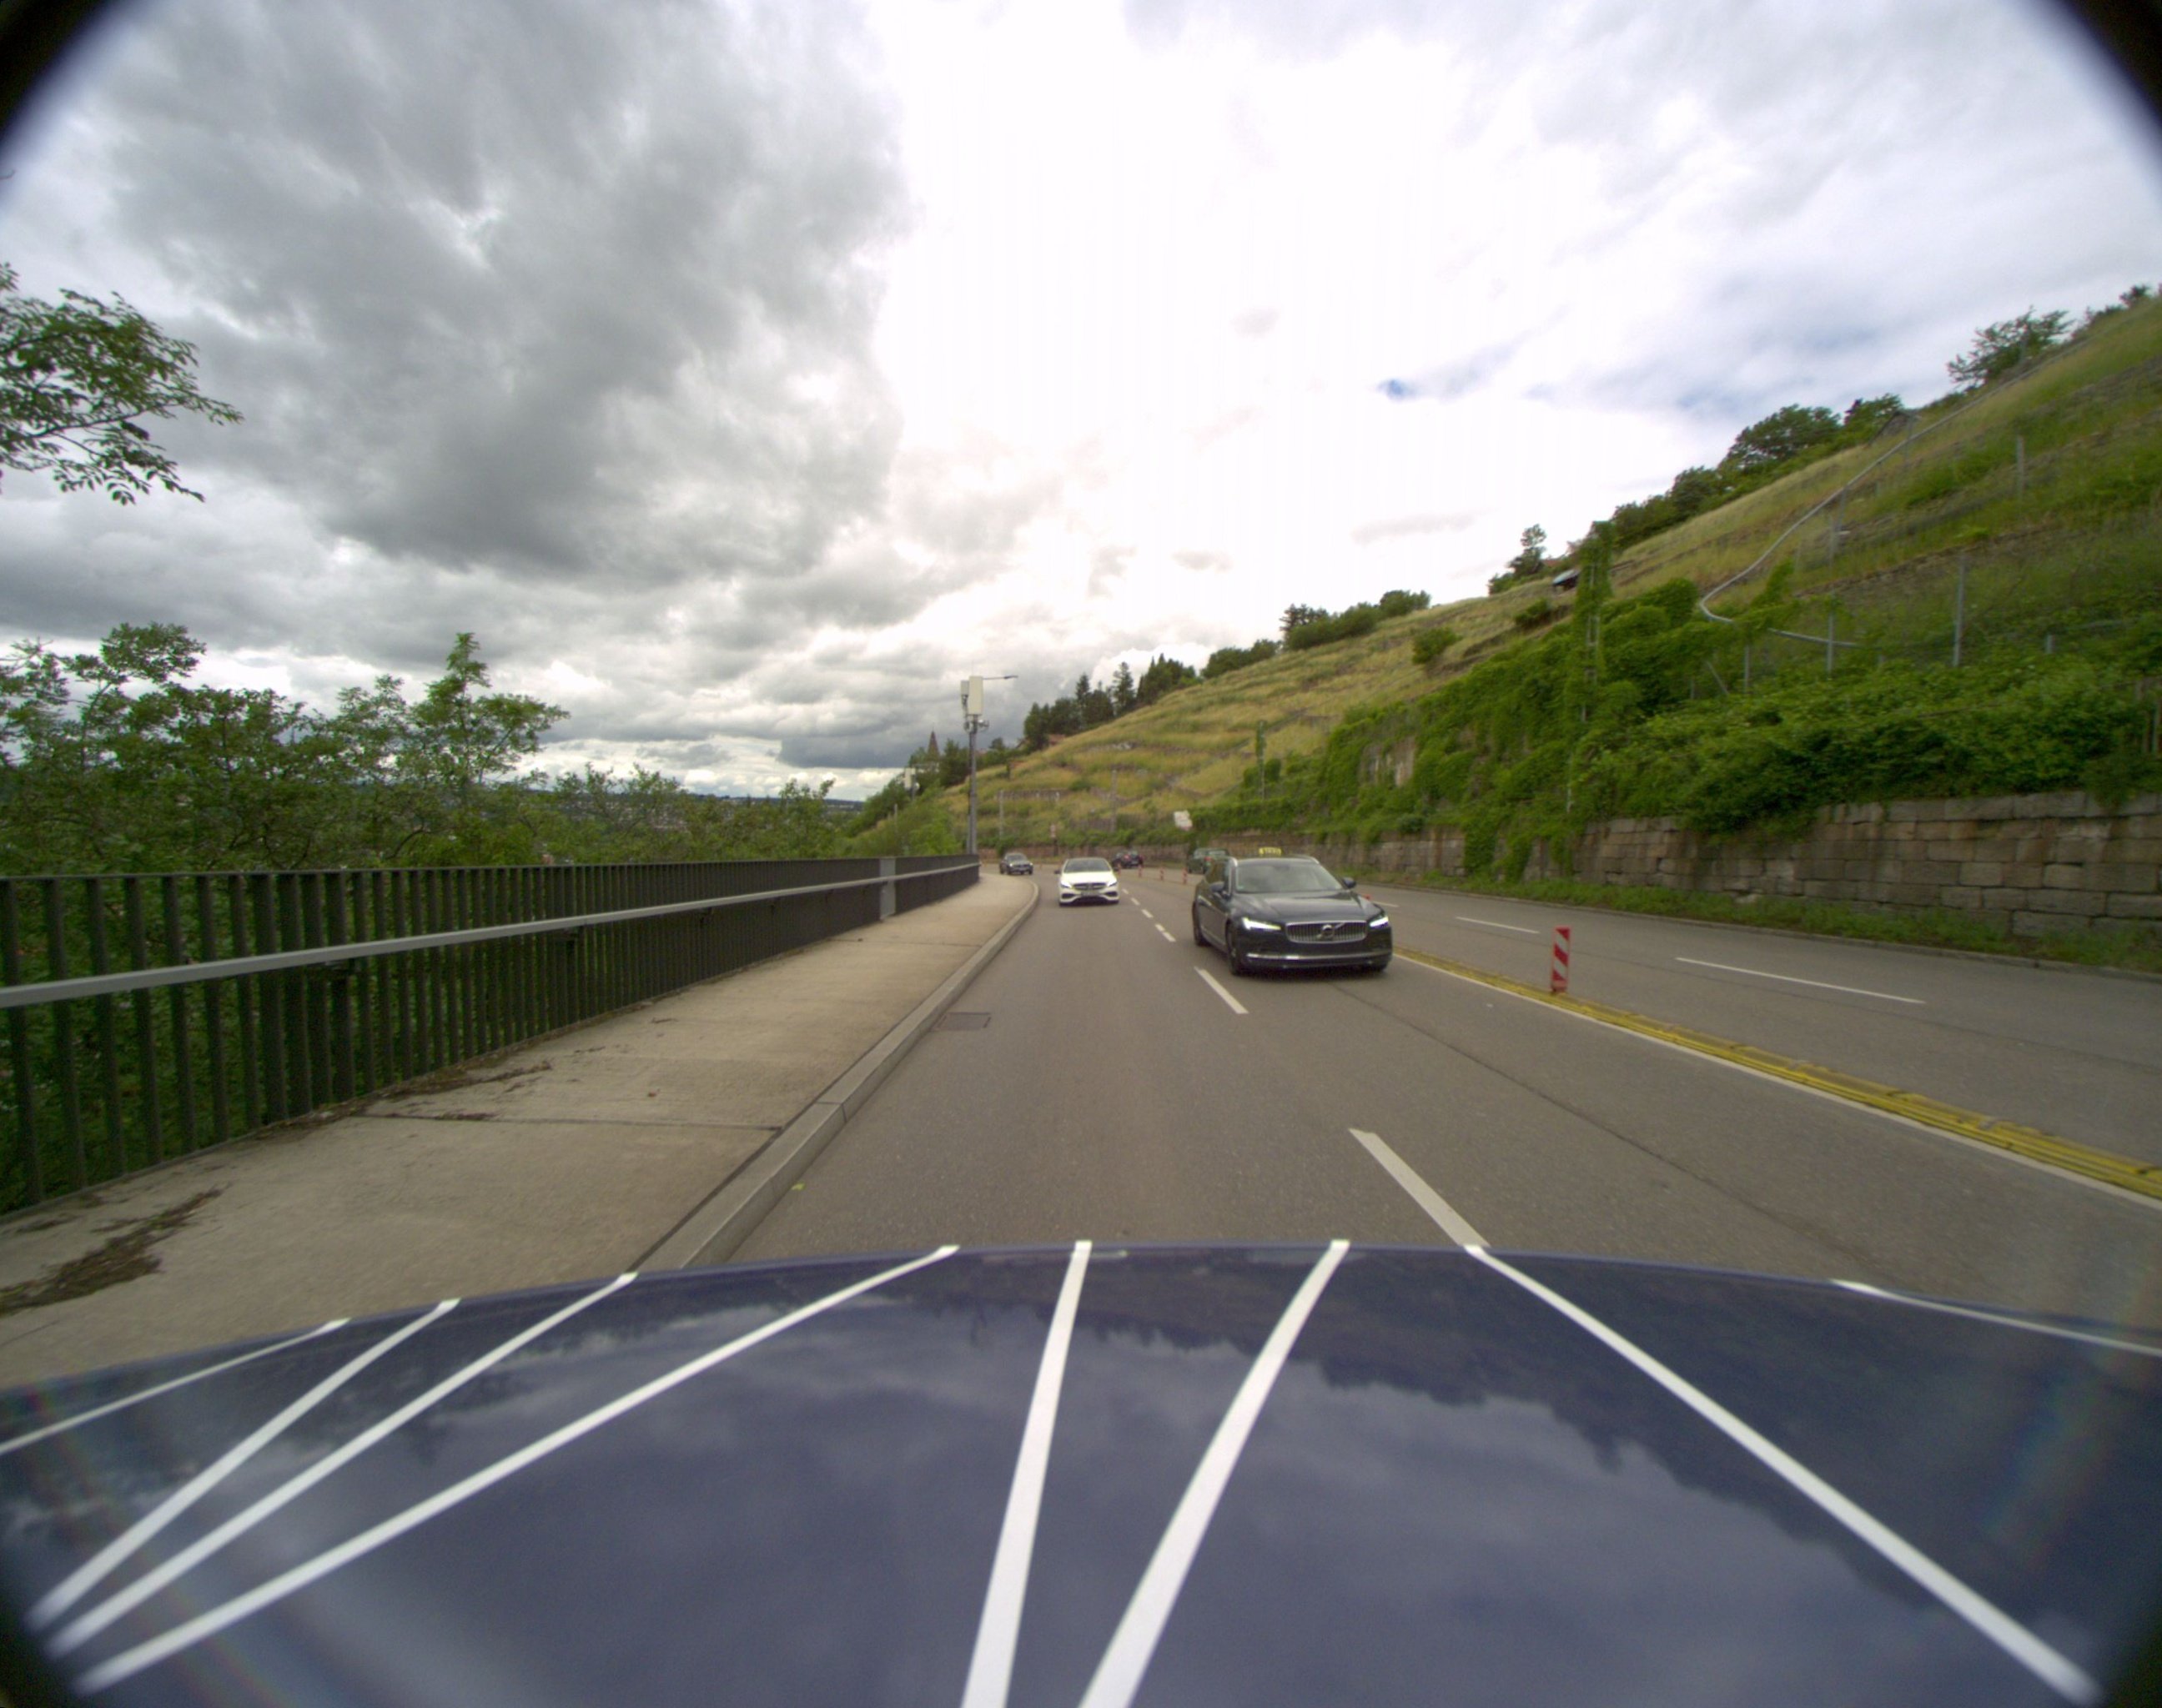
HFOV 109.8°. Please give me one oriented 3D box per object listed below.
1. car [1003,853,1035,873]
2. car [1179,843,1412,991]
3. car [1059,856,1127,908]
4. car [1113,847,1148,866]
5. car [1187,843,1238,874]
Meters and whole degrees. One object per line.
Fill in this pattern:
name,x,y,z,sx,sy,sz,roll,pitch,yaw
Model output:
car,-4.658,0.668,56.676,1.647,1.381,3.994,-3,1,-16
car,2.699,0.682,10.904,1.939,1.567,5.026,-2,0,1
car,0.316,0.847,24.035,1.903,1.418,4.266,-3,-1,-1
car,3.895,0.199,60.576,1.601,1.420,3.995,-3,1,-14
car,7.715,0.261,45.060,1.914,1.682,3.997,-3,1,-6
